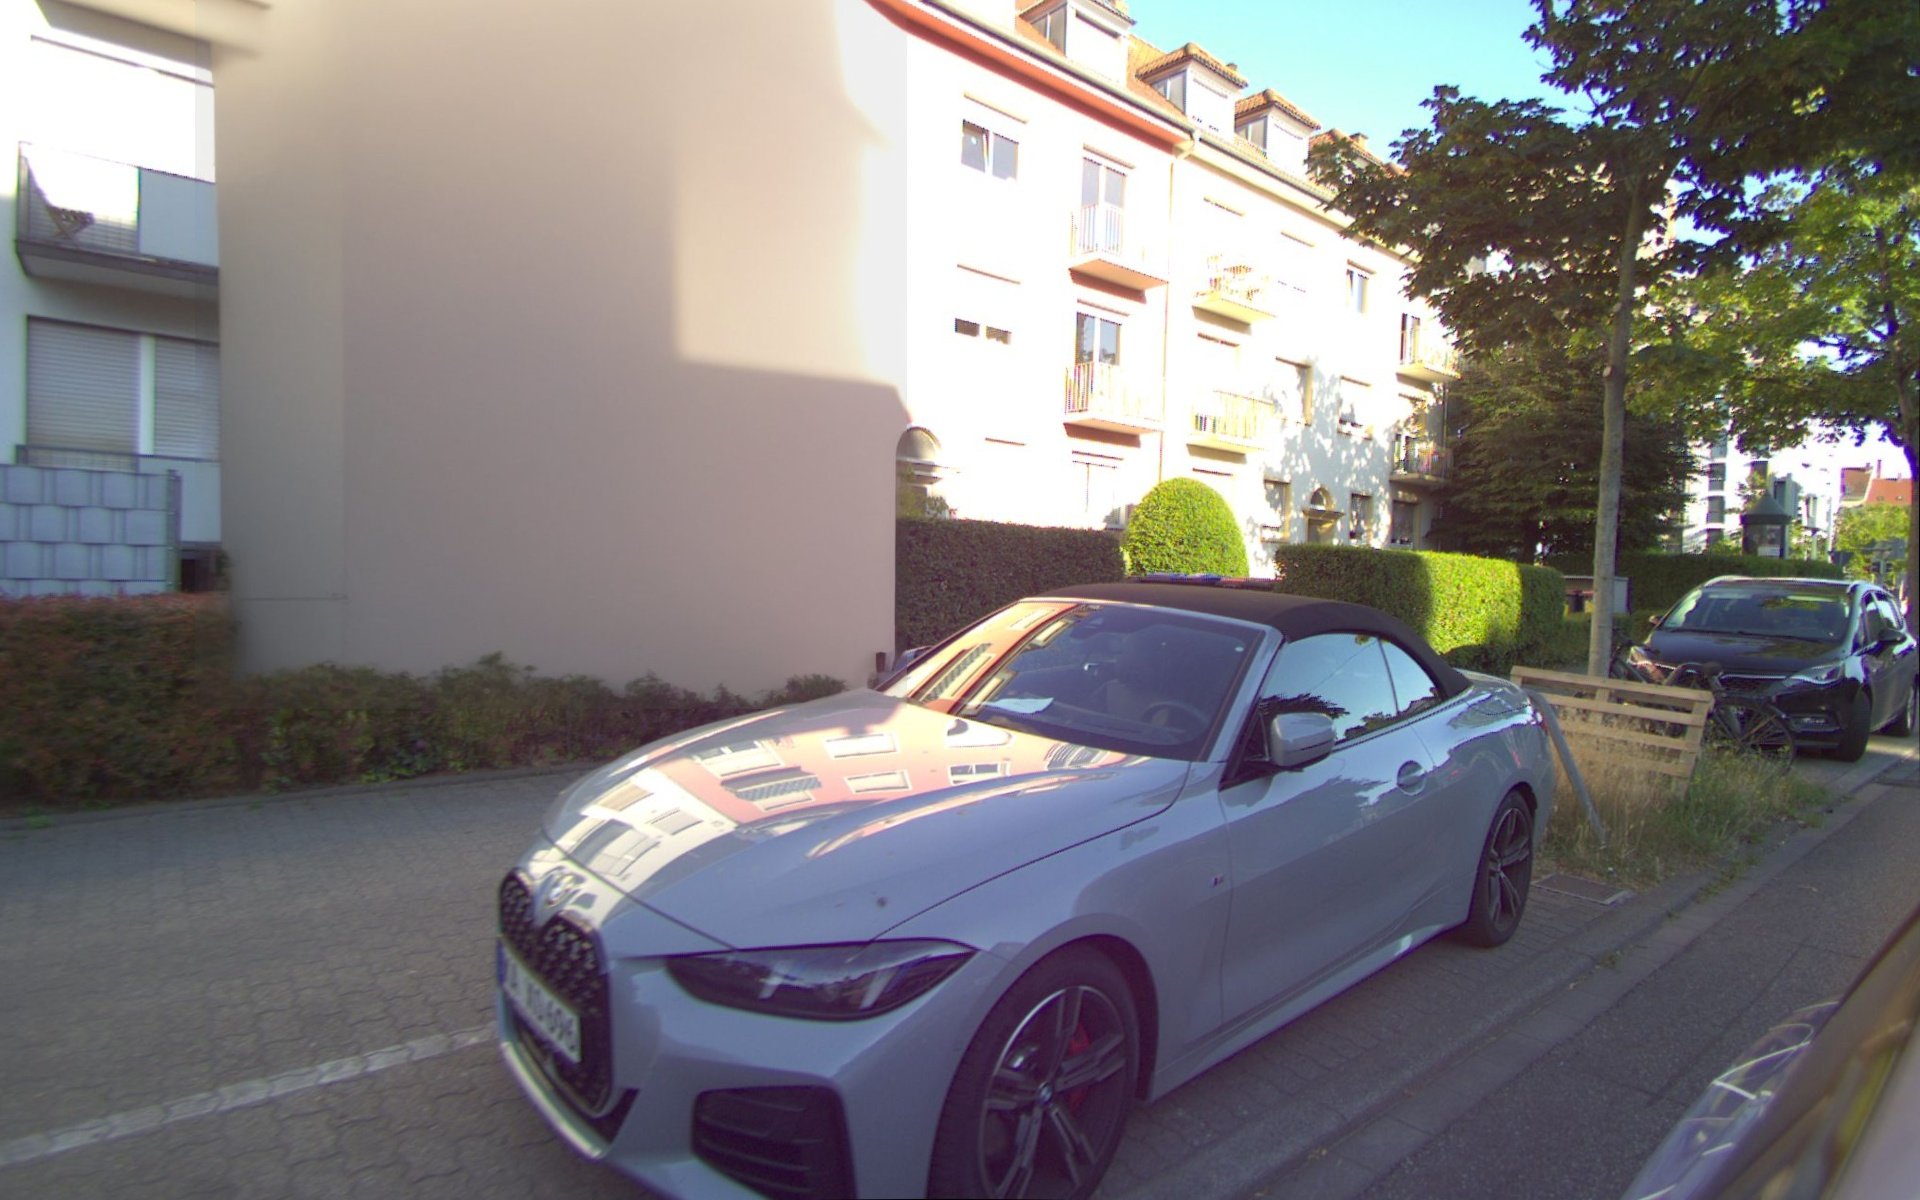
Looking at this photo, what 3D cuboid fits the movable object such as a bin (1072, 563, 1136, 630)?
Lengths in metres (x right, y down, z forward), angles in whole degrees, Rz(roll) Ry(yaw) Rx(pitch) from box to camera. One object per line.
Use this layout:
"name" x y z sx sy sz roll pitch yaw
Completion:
"movable object such as a bin" 2.256 -0.056 15.879 0.782 1.015 0.612 1 2 -40

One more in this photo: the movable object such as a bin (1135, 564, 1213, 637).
"movable object such as a bin" 3.136 0.004 14.819 0.782 1.015 0.778 1 2 -40

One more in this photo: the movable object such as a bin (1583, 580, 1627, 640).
"movable object such as a bin" 13.977 0.205 21.934 0.814 1.255 0.554 1 2 -40

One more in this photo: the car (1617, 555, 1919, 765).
"car" 8.339 0.462 10.158 4.215 1.671 1.736 0 2 -40

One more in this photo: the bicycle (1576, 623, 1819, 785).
"bicycle" 5.720 0.766 7.923 1.474 1.072 0.406 3 2 38

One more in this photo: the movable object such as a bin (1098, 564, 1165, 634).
"movable object such as a bin" 2.591 -0.028 15.301 0.782 1.015 0.612 1 2 -40

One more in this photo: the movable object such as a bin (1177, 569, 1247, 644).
"movable object such as a bin" 3.561 0.085 14.296 0.782 1.015 0.583 1 2 -40

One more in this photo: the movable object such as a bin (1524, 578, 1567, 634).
"movable object such as a bin" 13.254 0.133 22.917 0.814 1.217 0.554 1 2 -40

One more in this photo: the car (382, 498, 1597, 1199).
"car" 0.650 0.558 3.887 4.666 1.504 1.922 0 2 -44

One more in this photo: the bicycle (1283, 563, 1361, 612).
"bicycle" 8.277 -0.308 23.170 0.419 1.069 1.649 1 1 -44

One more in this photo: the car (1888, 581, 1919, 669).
"car" 18.985 0.485 19.056 3.581 1.570 1.736 0 2 -40

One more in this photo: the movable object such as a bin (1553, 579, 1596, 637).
"movable object such as a bin" 13.625 0.169 22.439 0.814 1.236 0.554 1 2 -40
